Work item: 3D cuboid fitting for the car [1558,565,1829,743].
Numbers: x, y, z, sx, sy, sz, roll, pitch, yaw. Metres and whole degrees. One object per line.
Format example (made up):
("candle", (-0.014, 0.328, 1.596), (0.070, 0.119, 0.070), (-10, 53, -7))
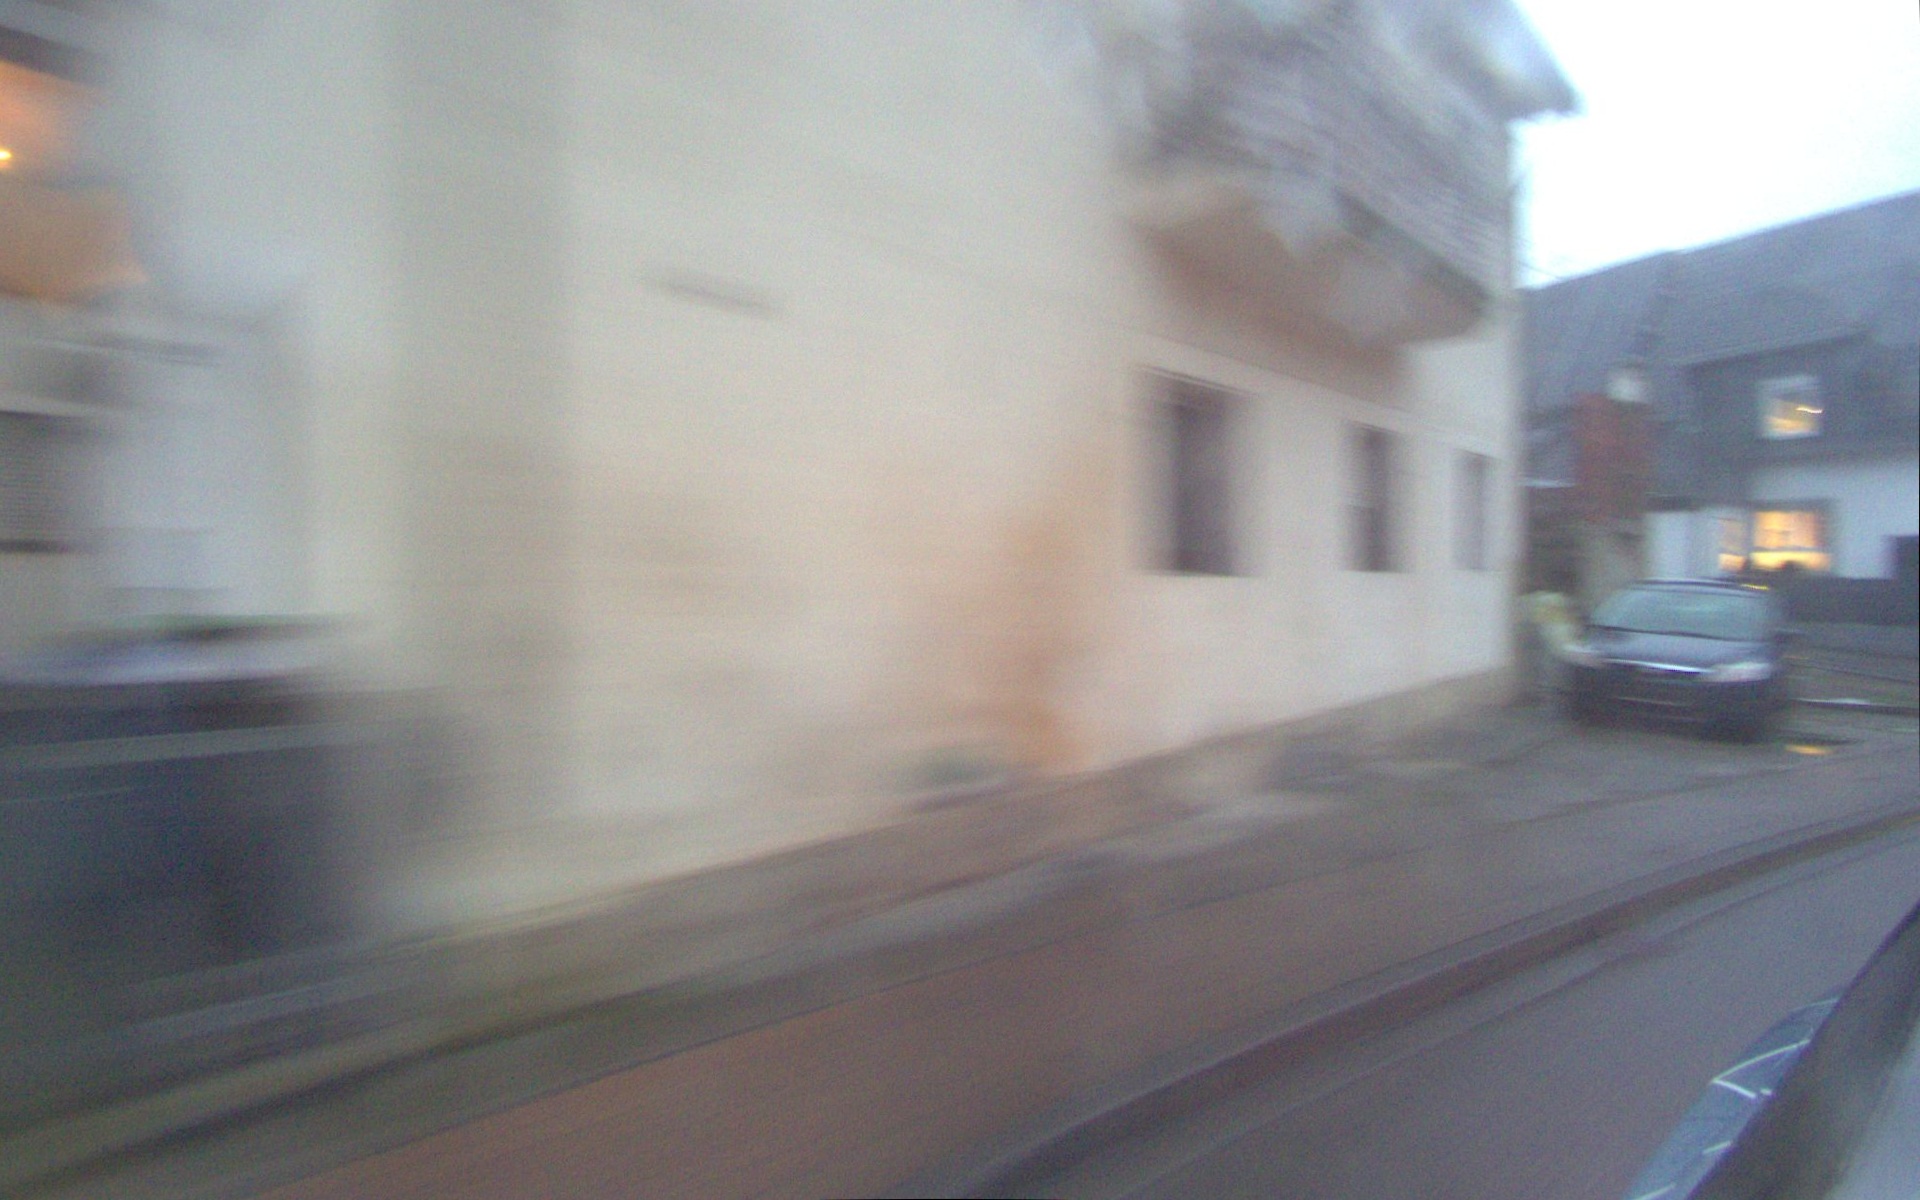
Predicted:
("car", (8.188, 0.406, 11.140), (1.807, 1.505, 4.211), (3, 4, 44))
